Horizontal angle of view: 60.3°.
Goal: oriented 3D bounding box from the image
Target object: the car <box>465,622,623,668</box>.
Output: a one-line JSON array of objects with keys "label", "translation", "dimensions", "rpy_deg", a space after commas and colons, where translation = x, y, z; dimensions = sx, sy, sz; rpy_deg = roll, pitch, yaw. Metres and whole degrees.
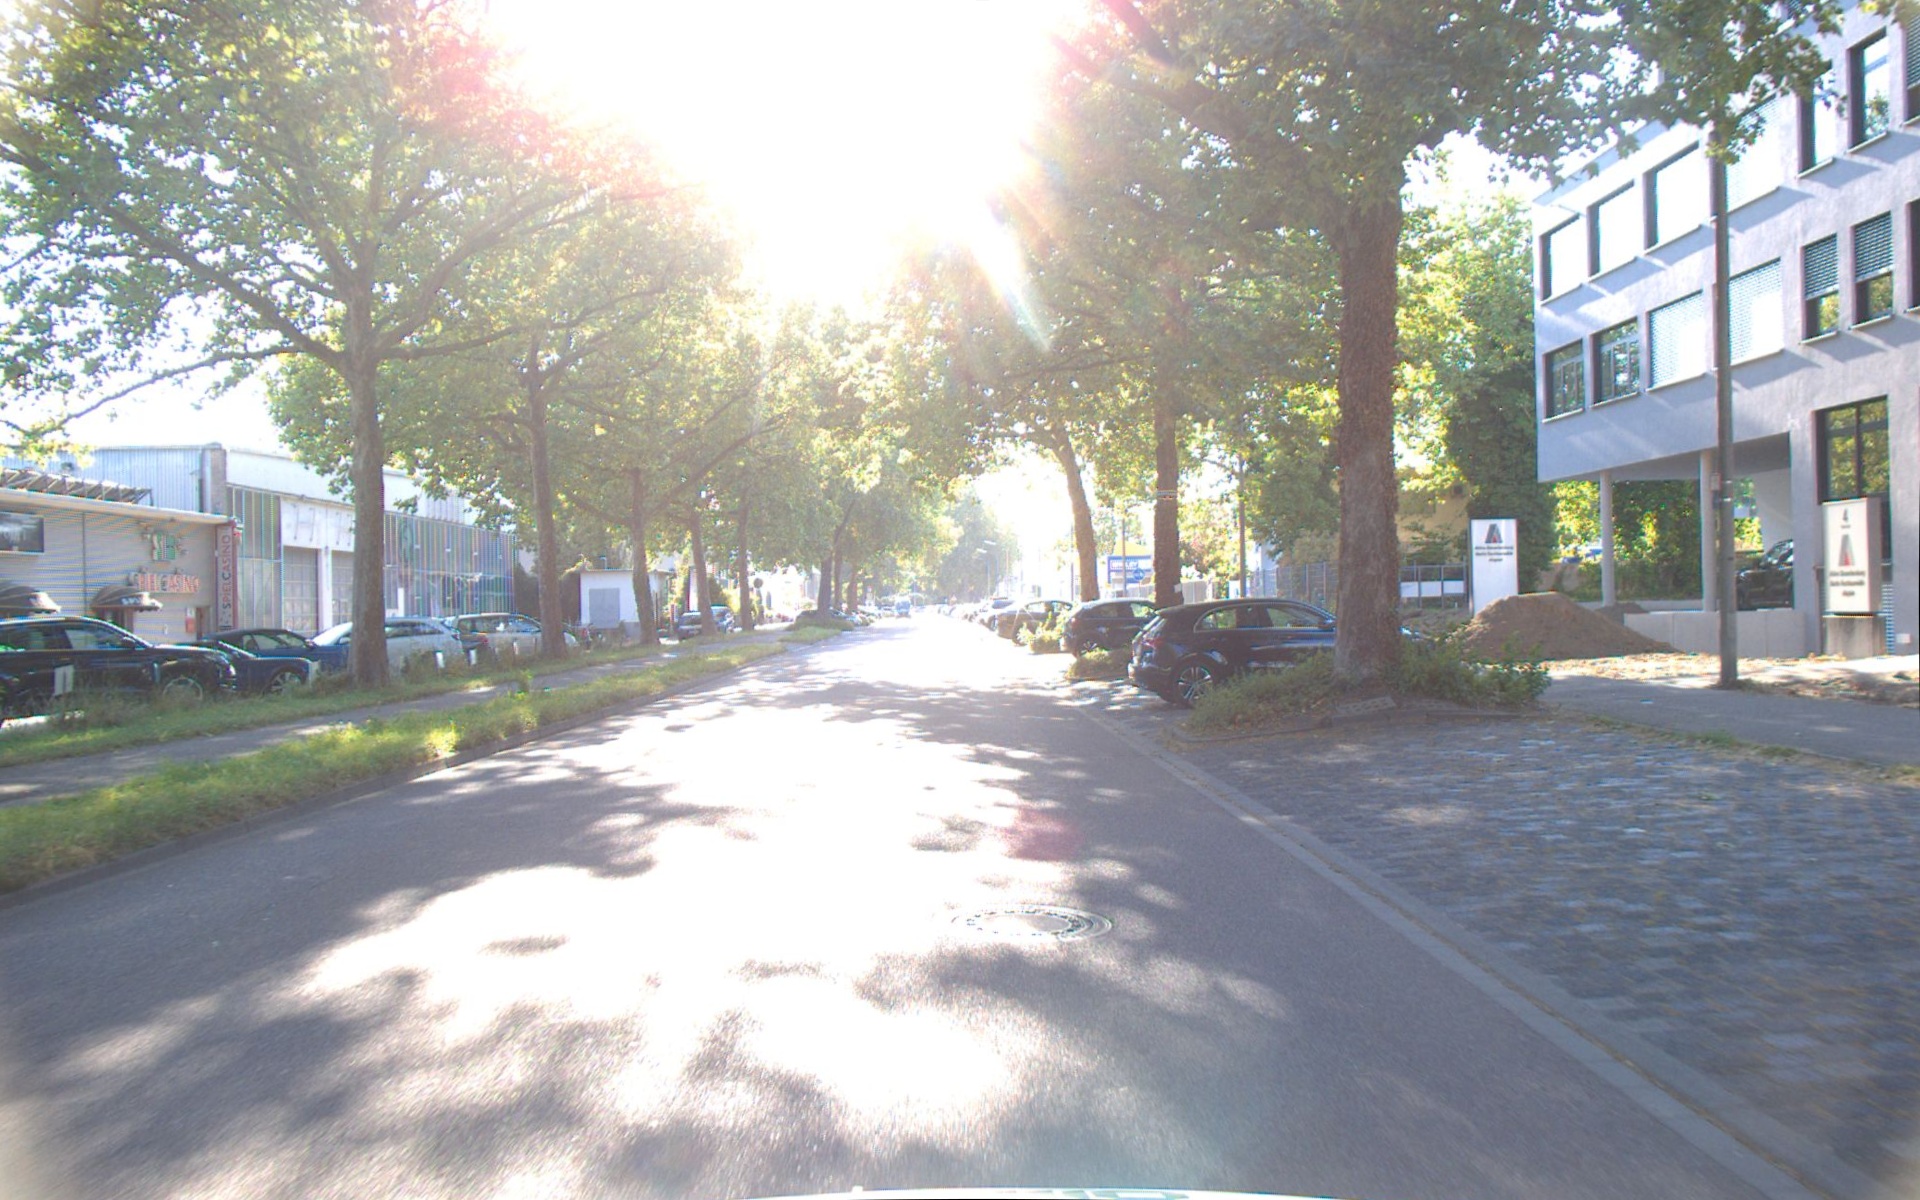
[{"label": "car", "translation": [-13.022, 1.382, 51.951], "dimensions": [4.447, 1.329, 1.969], "rpy_deg": [-1, 0, -43]}]

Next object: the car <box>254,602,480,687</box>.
[{"label": "car", "translation": [-12.876, 0.951, 36.097], "dimensions": [1.965, 1.729, 4.236], "rpy_deg": [0, -1, 42]}]

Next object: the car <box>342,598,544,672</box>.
[{"label": "car", "translation": [-12.375, 0.839, 39.788], "dimensions": [1.964, 1.658, 4.238], "rpy_deg": [0, -1, 41]}]

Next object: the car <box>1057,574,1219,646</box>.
[{"label": "car", "translation": [4.424, 0.256, 41.490], "dimensions": [3.710, 1.512, 1.860], "rpy_deg": [-4, -1, -3]}]

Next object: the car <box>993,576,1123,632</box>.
[{"label": "car", "translation": [3.578, 0.155, 60.888], "dimensions": [4.481, 1.745, 1.941], "rpy_deg": [-3, -1, -5]}]

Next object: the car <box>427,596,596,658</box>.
[{"label": "car", "translation": [-13.295, 0.828, 49.149], "dimensions": [4.439, 1.761, 1.972], "rpy_deg": [2, -1, -39]}]

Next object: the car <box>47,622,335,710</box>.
[{"label": "car", "translation": [-13.391, 1.126, 28.898], "dimensions": [4.221, 1.406, 1.972], "rpy_deg": [2, -1, -39]}]

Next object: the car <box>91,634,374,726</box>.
[{"label": "car", "translation": [-12.832, 1.373, 29.276], "dimensions": [4.221, 1.477, 1.972], "rpy_deg": [2, -1, -39]}]

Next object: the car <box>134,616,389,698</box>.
[{"label": "car", "translation": [-13.574, 1.088, 32.252], "dimensions": [4.221, 1.477, 1.972], "rpy_deg": [2, -1, -39]}]

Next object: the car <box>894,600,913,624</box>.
[{"label": "car", "translation": [-6.530, 1.343, 192.448], "dimensions": [2.084, 2.706, 6.999], "rpy_deg": [-1, 0, -1]}]

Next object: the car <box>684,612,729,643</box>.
[{"label": "car", "translation": [-13.134, 1.405, 85.861], "dimensions": [1.956, 1.393, 3.915], "rpy_deg": [-5, 0, -6]}]

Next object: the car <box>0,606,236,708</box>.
[{"label": "car", "translation": [-13.604, 0.846, 25.365], "dimensions": [4.221, 1.477, 1.972], "rpy_deg": [2, -1, -39]}]

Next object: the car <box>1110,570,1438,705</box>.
[{"label": "car", "translation": [4.392, 0.525, 23.571], "dimensions": [4.200, 1.511, 1.860], "rpy_deg": [-5, -1, -3]}]

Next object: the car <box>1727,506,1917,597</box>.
[{"label": "car", "translation": [18.607, -0.991, 35.970], "dimensions": [1.952, 1.762, 4.670], "rpy_deg": [1, -1, 4]}]

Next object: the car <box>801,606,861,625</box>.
[{"label": "car", "translation": [-10.039, 1.184, 128.793], "dimensions": [4.507, 1.447, 1.999], "rpy_deg": [0, 0, -2]}]

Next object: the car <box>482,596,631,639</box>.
[{"label": "car", "translation": [-13.357, 0.561, 54.879], "dimensions": [4.447, 1.329, 1.969], "rpy_deg": [-1, 0, -43]}]

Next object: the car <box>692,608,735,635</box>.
[{"label": "car", "translation": [-15.079, 1.313, 101.293], "dimensions": [1.952, 1.603, 4.273], "rpy_deg": [1, -1, 0]}]

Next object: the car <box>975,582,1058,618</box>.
[{"label": "car", "translation": [3.240, 0.008, 95.463], "dimensions": [4.533, 1.741, 1.999], "rpy_deg": [-4, -1, -3]}]

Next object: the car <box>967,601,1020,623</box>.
[{"label": "car", "translation": [2.900, 1.035, 142.614], "dimensions": [4.507, 1.607, 2.000], "rpy_deg": [-4, -1, 1]}]
